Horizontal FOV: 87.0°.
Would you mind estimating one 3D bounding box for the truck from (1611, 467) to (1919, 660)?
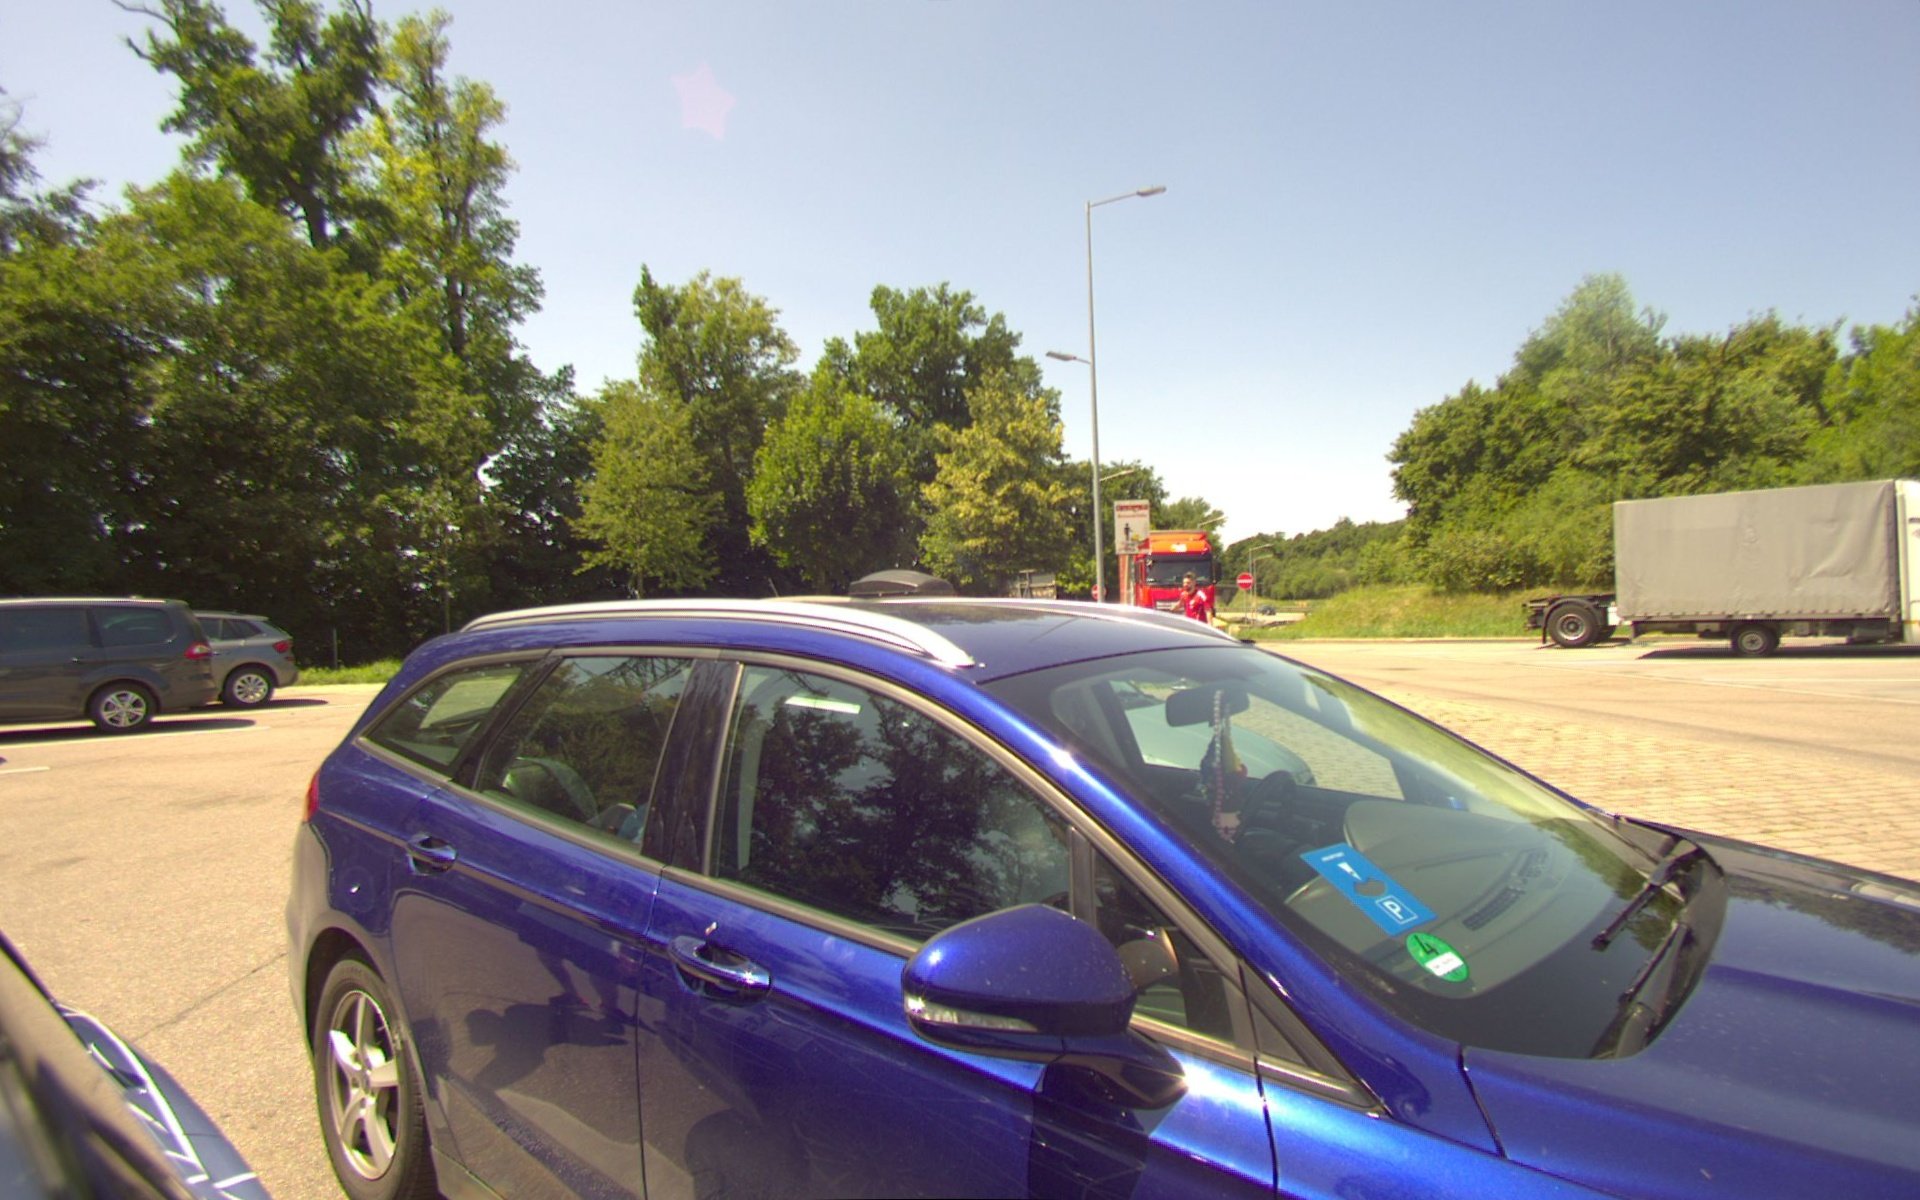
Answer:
[{"bbox_3d":[16.825,-0.659,18.961,7.295,3.259,2.709,-4,-1,43],"label":"truck"}]

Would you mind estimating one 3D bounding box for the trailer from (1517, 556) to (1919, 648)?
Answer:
[{"bbox_3d":[17.251,0.122,23.389,7.295,1.701,2.235,-4,-1,43],"label":"trailer"}]

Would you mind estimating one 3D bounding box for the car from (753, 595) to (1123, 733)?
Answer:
[{"bbox_3d":[-0.388,0.768,12.756,4.485,1.437,1.756,-3,-1,36],"label":"car"}]

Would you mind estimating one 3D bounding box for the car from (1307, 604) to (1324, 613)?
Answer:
[{"bbox_3d":[58.885,1.388,167.537,1.845,1.408,3.958,-1,0,31],"label":"car"}]

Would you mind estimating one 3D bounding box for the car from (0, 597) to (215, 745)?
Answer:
[{"bbox_3d":[-11.945,0.849,12.299,4.553,1.725,1.741,0,-1,-41],"label":"car"}]

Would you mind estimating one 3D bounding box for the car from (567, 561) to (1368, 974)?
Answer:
[{"bbox_3d":[-0.261,0.687,5.834,4.490,1.511,1.754,-3,-1,40],"label":"car"}]

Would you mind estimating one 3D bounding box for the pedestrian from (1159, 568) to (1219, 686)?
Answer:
[{"bbox_3d":[3.477,0.410,15.419,0.824,1.746,0.674,-1,-1,10],"label":"pedestrian"}]

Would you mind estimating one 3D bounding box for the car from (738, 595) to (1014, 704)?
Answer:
[{"bbox_3d":[-1.480,0.819,16.855,4.485,1.562,1.756,-3,-1,36],"label":"car"}]

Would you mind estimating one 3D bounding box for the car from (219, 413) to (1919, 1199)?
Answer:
[{"bbox_3d":[0.251,0.654,2.136,4.490,1.502,1.851,-3,0,40],"label":"car"}]

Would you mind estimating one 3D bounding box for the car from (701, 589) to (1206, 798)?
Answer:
[{"bbox_3d":[-0.248,0.742,9.209,4.490,1.437,1.754,-3,-1,40],"label":"car"}]

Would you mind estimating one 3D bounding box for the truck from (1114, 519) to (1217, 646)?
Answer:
[{"bbox_3d":[7.961,-0.589,41.115,3.097,4.150,15.362,-1,0,8],"label":"truck"}]

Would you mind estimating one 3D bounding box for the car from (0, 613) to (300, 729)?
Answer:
[{"bbox_3d":[-12.599,0.994,15.463,1.687,1.515,3.943,-1,0,43],"label":"car"}]
